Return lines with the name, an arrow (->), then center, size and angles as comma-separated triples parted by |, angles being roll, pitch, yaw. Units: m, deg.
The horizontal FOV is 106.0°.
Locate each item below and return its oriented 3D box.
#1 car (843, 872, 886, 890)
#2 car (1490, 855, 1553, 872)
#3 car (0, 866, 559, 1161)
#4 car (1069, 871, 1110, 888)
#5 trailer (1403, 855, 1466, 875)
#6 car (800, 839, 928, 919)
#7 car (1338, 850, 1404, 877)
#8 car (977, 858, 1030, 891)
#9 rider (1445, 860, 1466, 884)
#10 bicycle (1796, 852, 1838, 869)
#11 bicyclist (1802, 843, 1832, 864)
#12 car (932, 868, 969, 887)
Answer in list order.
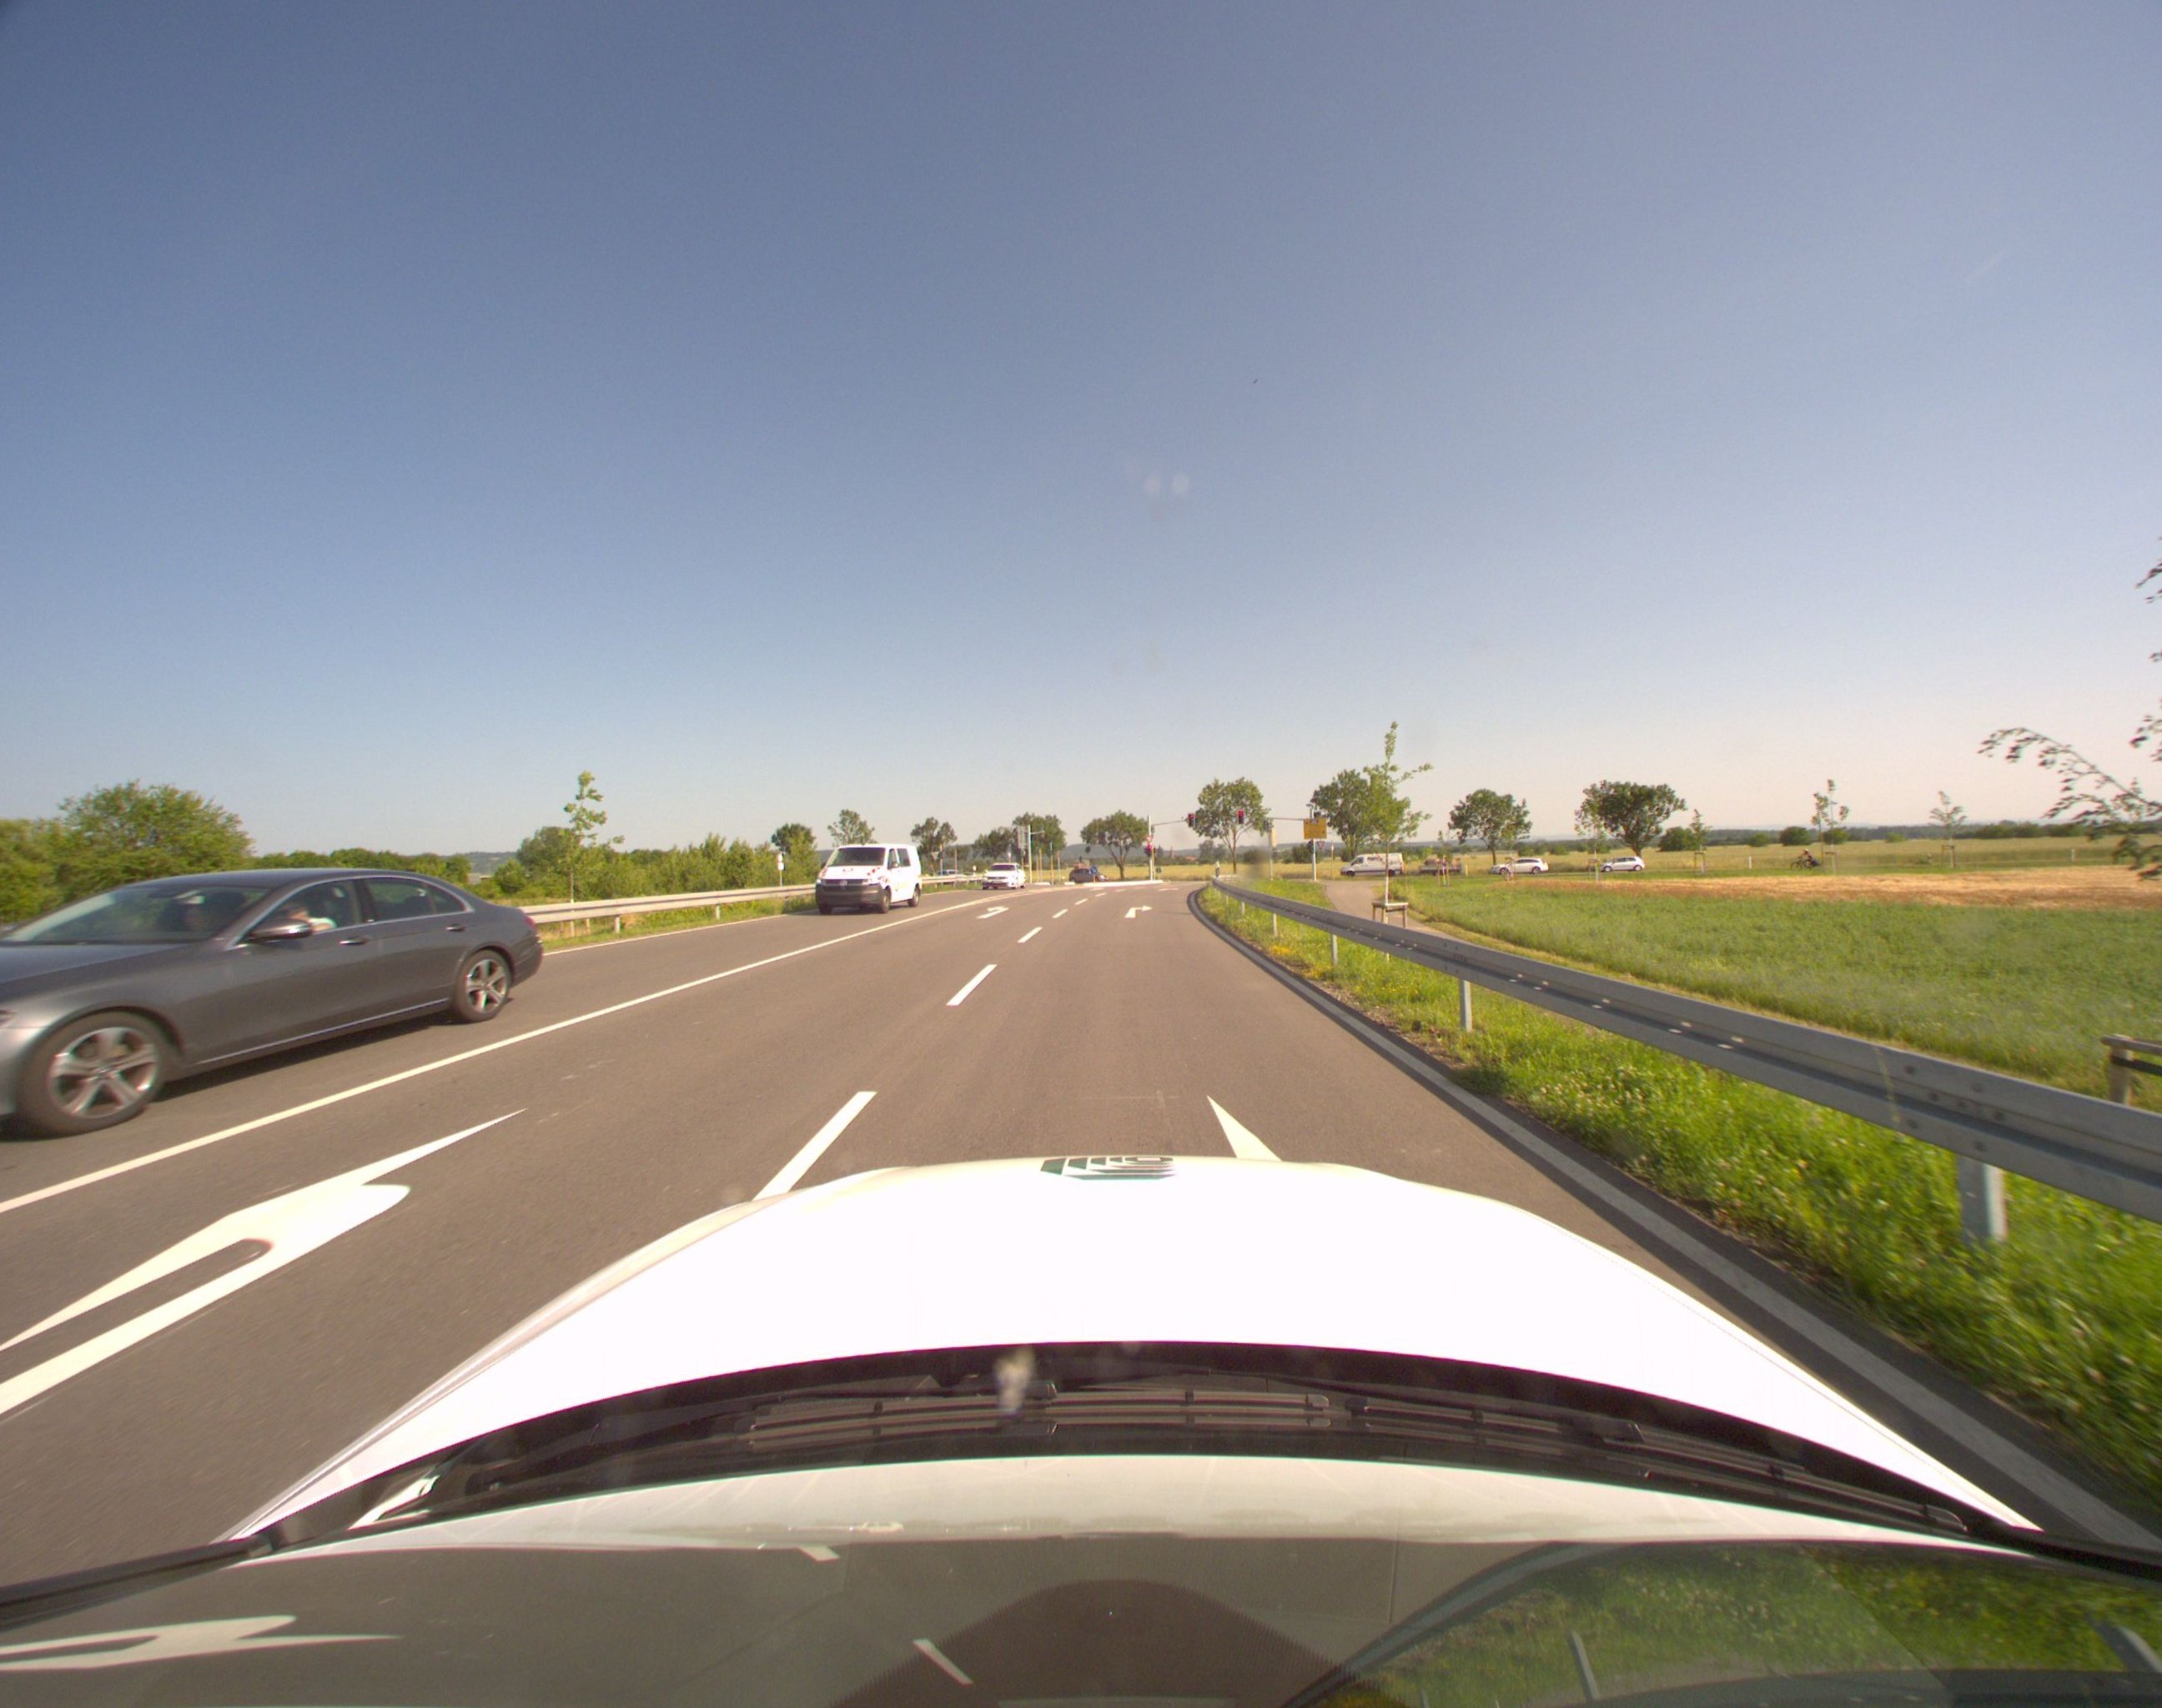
car -> -24.418, 3.014, 91.888 | 4.862, 1.940, 1.851 | 0, -1, 32
car -> 40.656, 0.930, 75.253 | 4.833, 1.510, 2.008 | 0, -2, 15
car -> -6.401, 0.845, 6.245 | 1.789, 1.448, 4.703 | 0, 0, -1
car -> 0.917, 2.656, 84.665 | 3.924, 1.668, 1.771 | 0, -2, 16
trailer -> 33.432, 1.071, 77.221 | 5.219, 1.753, 1.962 | -2, -2, 18
car -> -6.198, 0.610, 23.993 | 2.106, 2.013, 5.159 | 0, 2, 4
car -> 28.073, 0.961, 78.926 | 5.909, 2.493, 2.009 | 0, -2, 18
car -> -4.196, 1.087, 44.940 | 2.105, 1.493, 5.160 | 0, 2, 4
rider -> 25.907, 1.230, 56.364 | 0.824, 1.643, 0.982 | -2, 0, -29
bicycle -> 56.458, 0.499, 62.484 | 2.140, 1.186, 0.893 | -1, -2, 15
bicyclist -> 56.445, -0.038, 62.494 | 1.269, 1.601, 1.170 | -1, 0, 15
car -> -13.093, 2.413, 81.439 | 1.704, 1.674, 4.810 | 2, -5, -35
